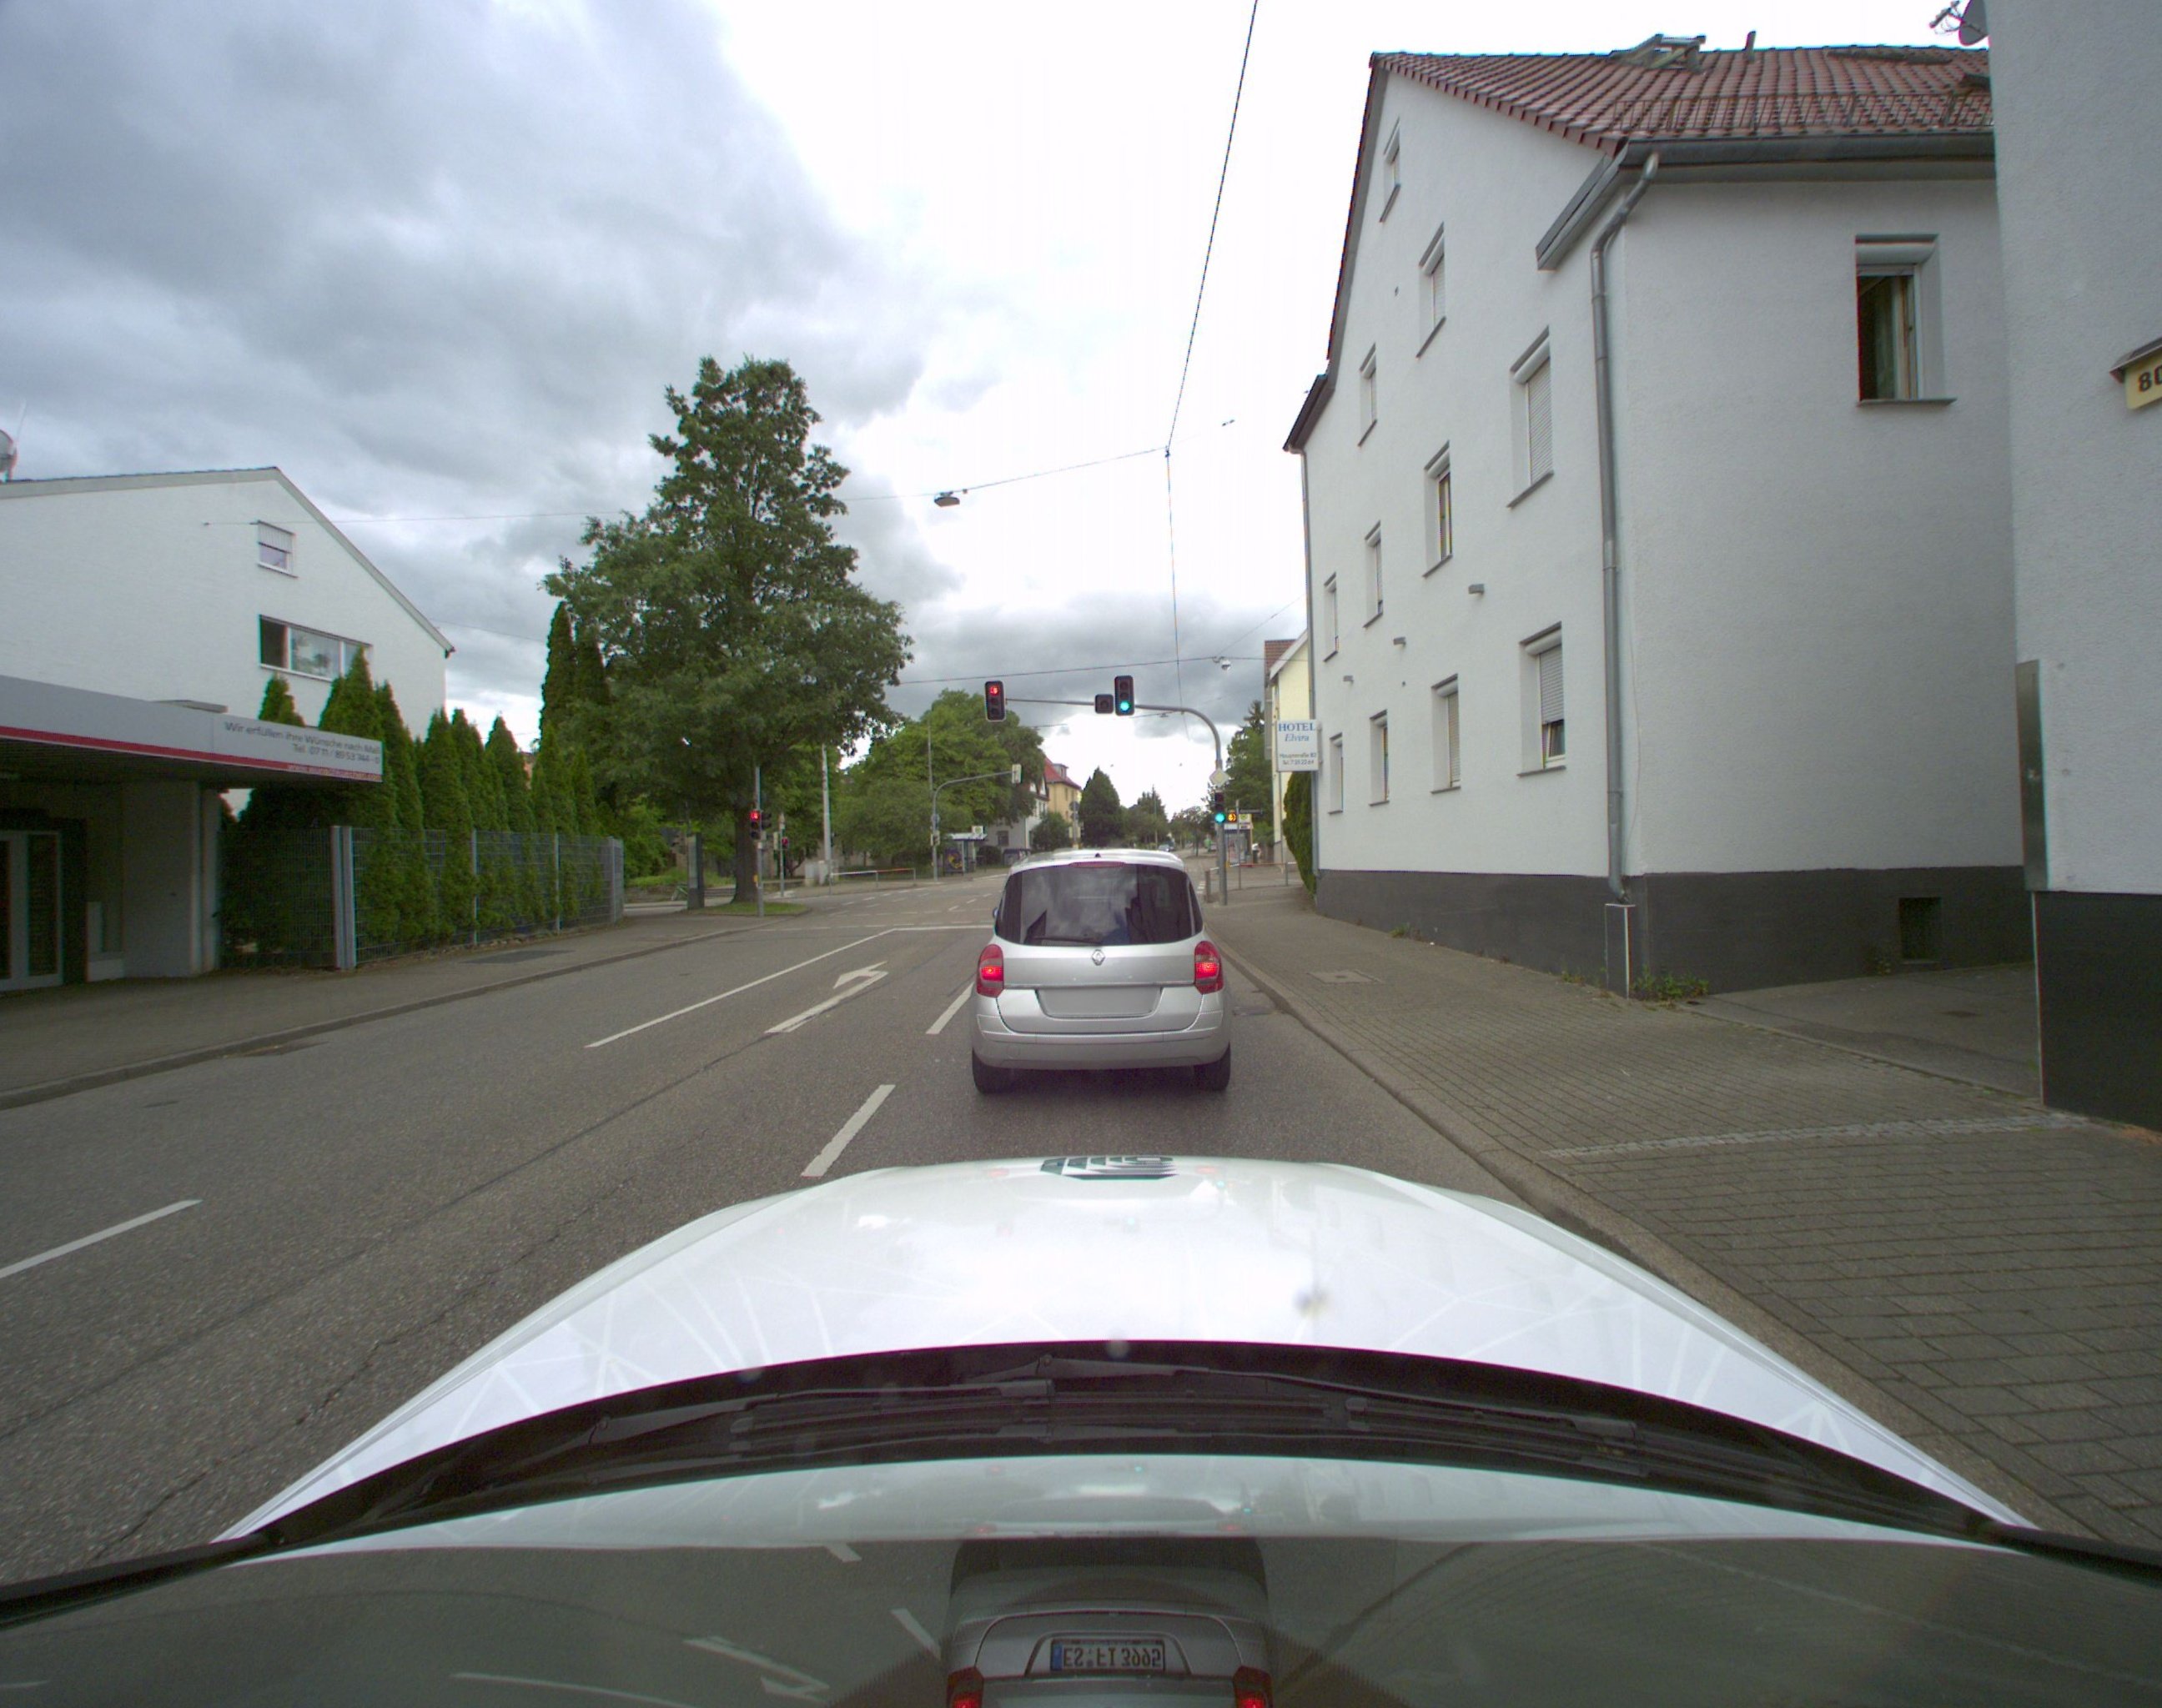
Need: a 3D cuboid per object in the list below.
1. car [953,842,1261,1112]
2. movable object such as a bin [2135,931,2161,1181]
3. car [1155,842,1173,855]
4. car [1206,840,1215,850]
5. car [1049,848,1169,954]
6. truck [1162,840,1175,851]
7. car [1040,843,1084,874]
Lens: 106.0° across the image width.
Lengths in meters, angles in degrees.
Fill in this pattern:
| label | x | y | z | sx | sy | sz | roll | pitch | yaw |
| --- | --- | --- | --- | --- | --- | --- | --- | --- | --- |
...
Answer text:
| label | x | y | z | sx | sy | sz | roll | pitch | yaw |
| --- | --- | --- | --- | --- | --- | --- | --- | --- | --- |
| car | 0.197 | 0.713 | 6.686 | 1.748 | 1.530 | 4.001 | -1 | 0 | 1 |
| movable object such as a bin | 4.328 | 0.751 | 2.865 | 0.538 | 0.941 | 0.487 | -4 | -1 | 2 |
| car | 11.470 | -0.698 | 112.525 | 1.844 | 1.748 | 4.015 | -1 | 0 | 13 |
| car | 34.867 | -2.393 | 219.282 | 2.044 | 2.512 | 5.616 | -1 | 0 | 14 |
| car | 0.463 | 0.695 | 13.891 | 1.748 | 1.530 | 3.798 | -1 | 0 | 1 |
| truck | 17.882 | -1.744 | 166.359 | 2.088 | 2.013 | 5.766 | -1 | 0 | 11 |
| car | -1.226 | 0.265 | 54.379 | 1.913 | 1.773 | 4.013 | -6 | -1 | 12 |
